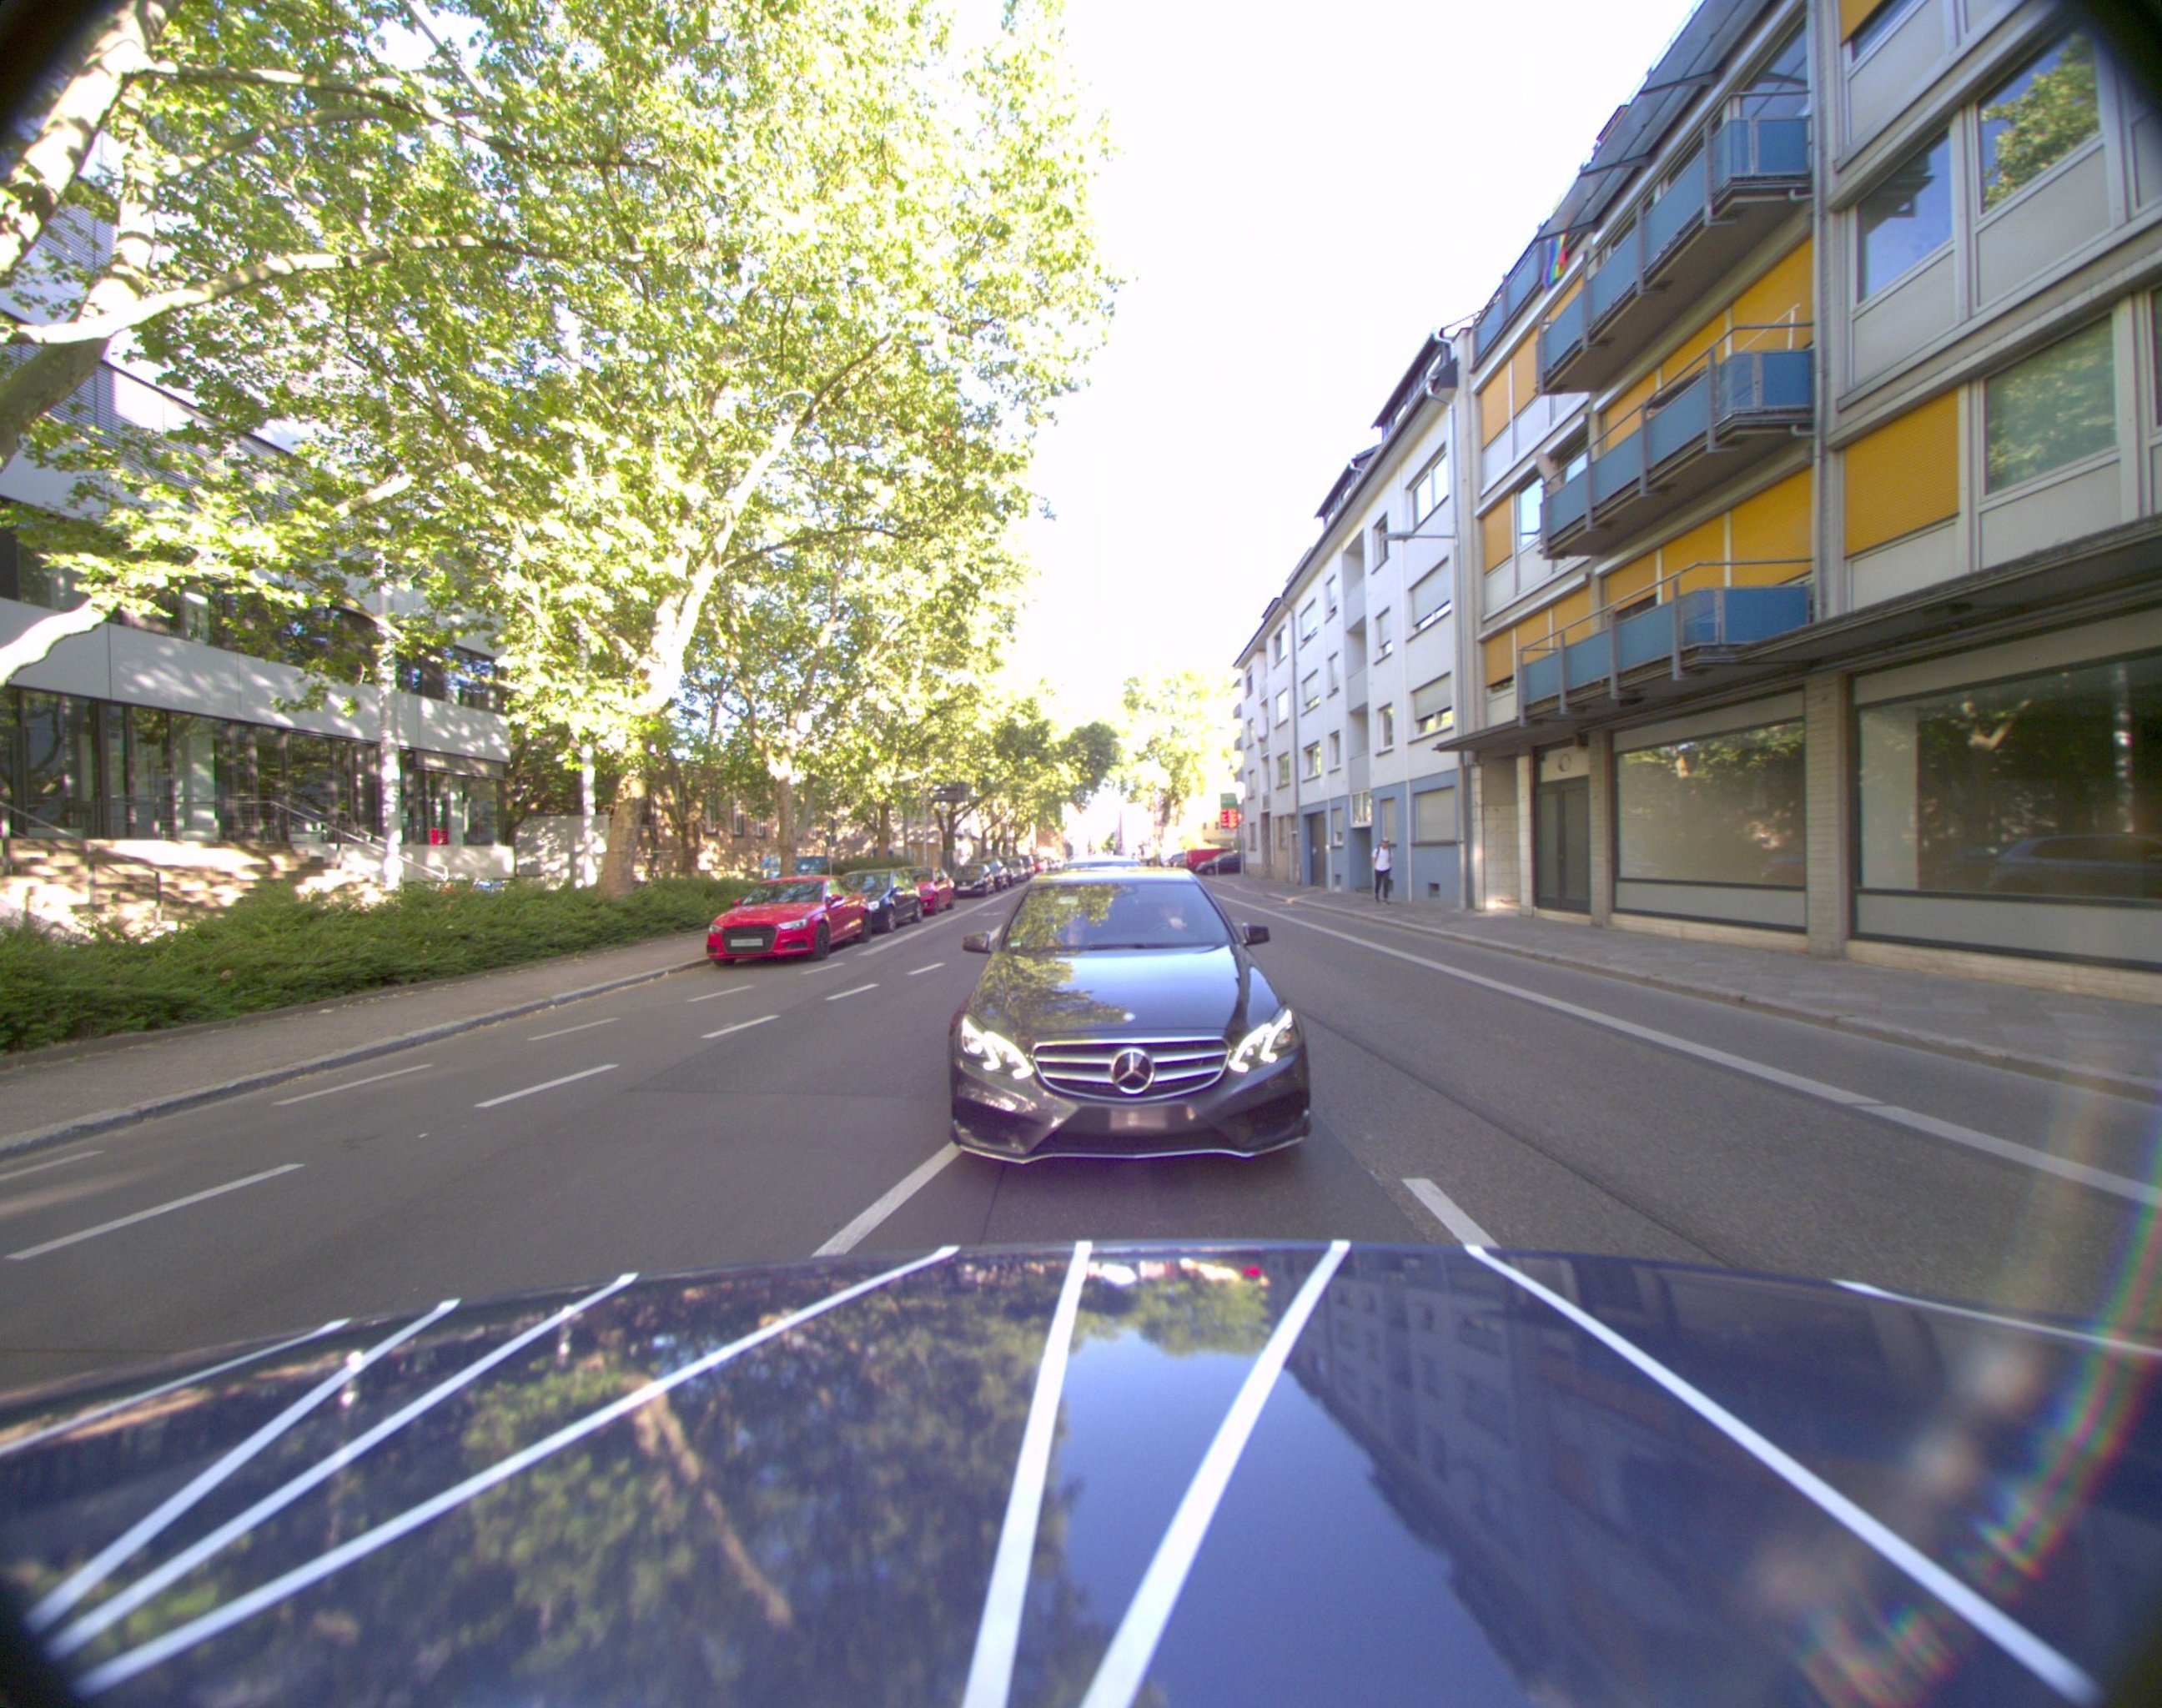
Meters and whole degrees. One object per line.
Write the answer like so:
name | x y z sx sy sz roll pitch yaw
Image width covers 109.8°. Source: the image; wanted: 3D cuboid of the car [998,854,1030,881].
car | -4.420 0.898 50.759 1.635 1.644 3.845 -3 0 1

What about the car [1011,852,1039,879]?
car | -4.088 0.831 55.512 1.635 1.799 3.673 -3 0 1

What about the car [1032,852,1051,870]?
car | -4.038 0.743 78.262 1.635 1.713 3.673 -3 0 1

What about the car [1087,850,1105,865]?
car | 1.564 0.383 81.123 1.853 1.455 4.099 -3 0 1

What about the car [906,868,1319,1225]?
car | 0.170 0.914 5.513 1.804 1.455 4.125 -3 0 1

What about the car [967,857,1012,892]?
car | -4.529 0.971 38.050 1.635 1.578 3.845 -3 0 1

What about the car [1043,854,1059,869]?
car | -3.607 0.928 92.200 1.635 1.713 3.673 -3 0 1

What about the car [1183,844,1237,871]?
car | 10.161 0.261 59.995 3.927 1.912 1.636 -3 0 1

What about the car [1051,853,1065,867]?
car | -3.047 0.794 102.740 1.635 1.713 3.673 -3 0 1

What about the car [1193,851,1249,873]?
car | 10.078 0.556 54.701 3.670 1.403 1.636 -3 0 1

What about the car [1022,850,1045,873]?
car | -4.136 0.642 66.078 1.635 1.878 3.673 -3 0 1

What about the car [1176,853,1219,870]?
car | 9.603 0.634 62.612 3.325 1.241 1.295 -3 0 1

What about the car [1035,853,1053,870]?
car | -3.937 0.762 82.062 1.635 1.713 3.673 -3 0 1

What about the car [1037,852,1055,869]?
car | -3.951 0.717 86.070 1.635 1.713 3.673 -3 0 1

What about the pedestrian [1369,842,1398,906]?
pedestrian | 8.239 0.538 20.679 0.569 1.716 0.343 -3 1 1

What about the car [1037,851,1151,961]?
car | 0.231 0.801 13.809 1.680 1.622 4.125 -3 0 1

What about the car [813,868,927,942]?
car | -4.998 1.146 18.508 1.635 1.455 3.740 -3 0 1

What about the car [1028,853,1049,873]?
car | -3.936 0.818 70.880 1.635 1.713 3.673 -3 0 1

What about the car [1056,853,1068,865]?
car | -2.720 0.718 109.659 1.635 1.713 3.673 -3 0 1

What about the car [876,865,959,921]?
car | -4.997 1.145 23.686 1.635 1.455 3.740 -3 0 1

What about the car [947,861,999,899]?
car | -4.685 1.094 33.323 1.635 1.455 3.740 -3 0 1

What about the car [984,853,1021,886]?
car | -4.496 0.856 43.988 1.635 1.795 3.845 -3 0 1

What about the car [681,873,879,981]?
car | -5.140 1.162 13.669 1.804 1.455 4.125 -3 0 1
